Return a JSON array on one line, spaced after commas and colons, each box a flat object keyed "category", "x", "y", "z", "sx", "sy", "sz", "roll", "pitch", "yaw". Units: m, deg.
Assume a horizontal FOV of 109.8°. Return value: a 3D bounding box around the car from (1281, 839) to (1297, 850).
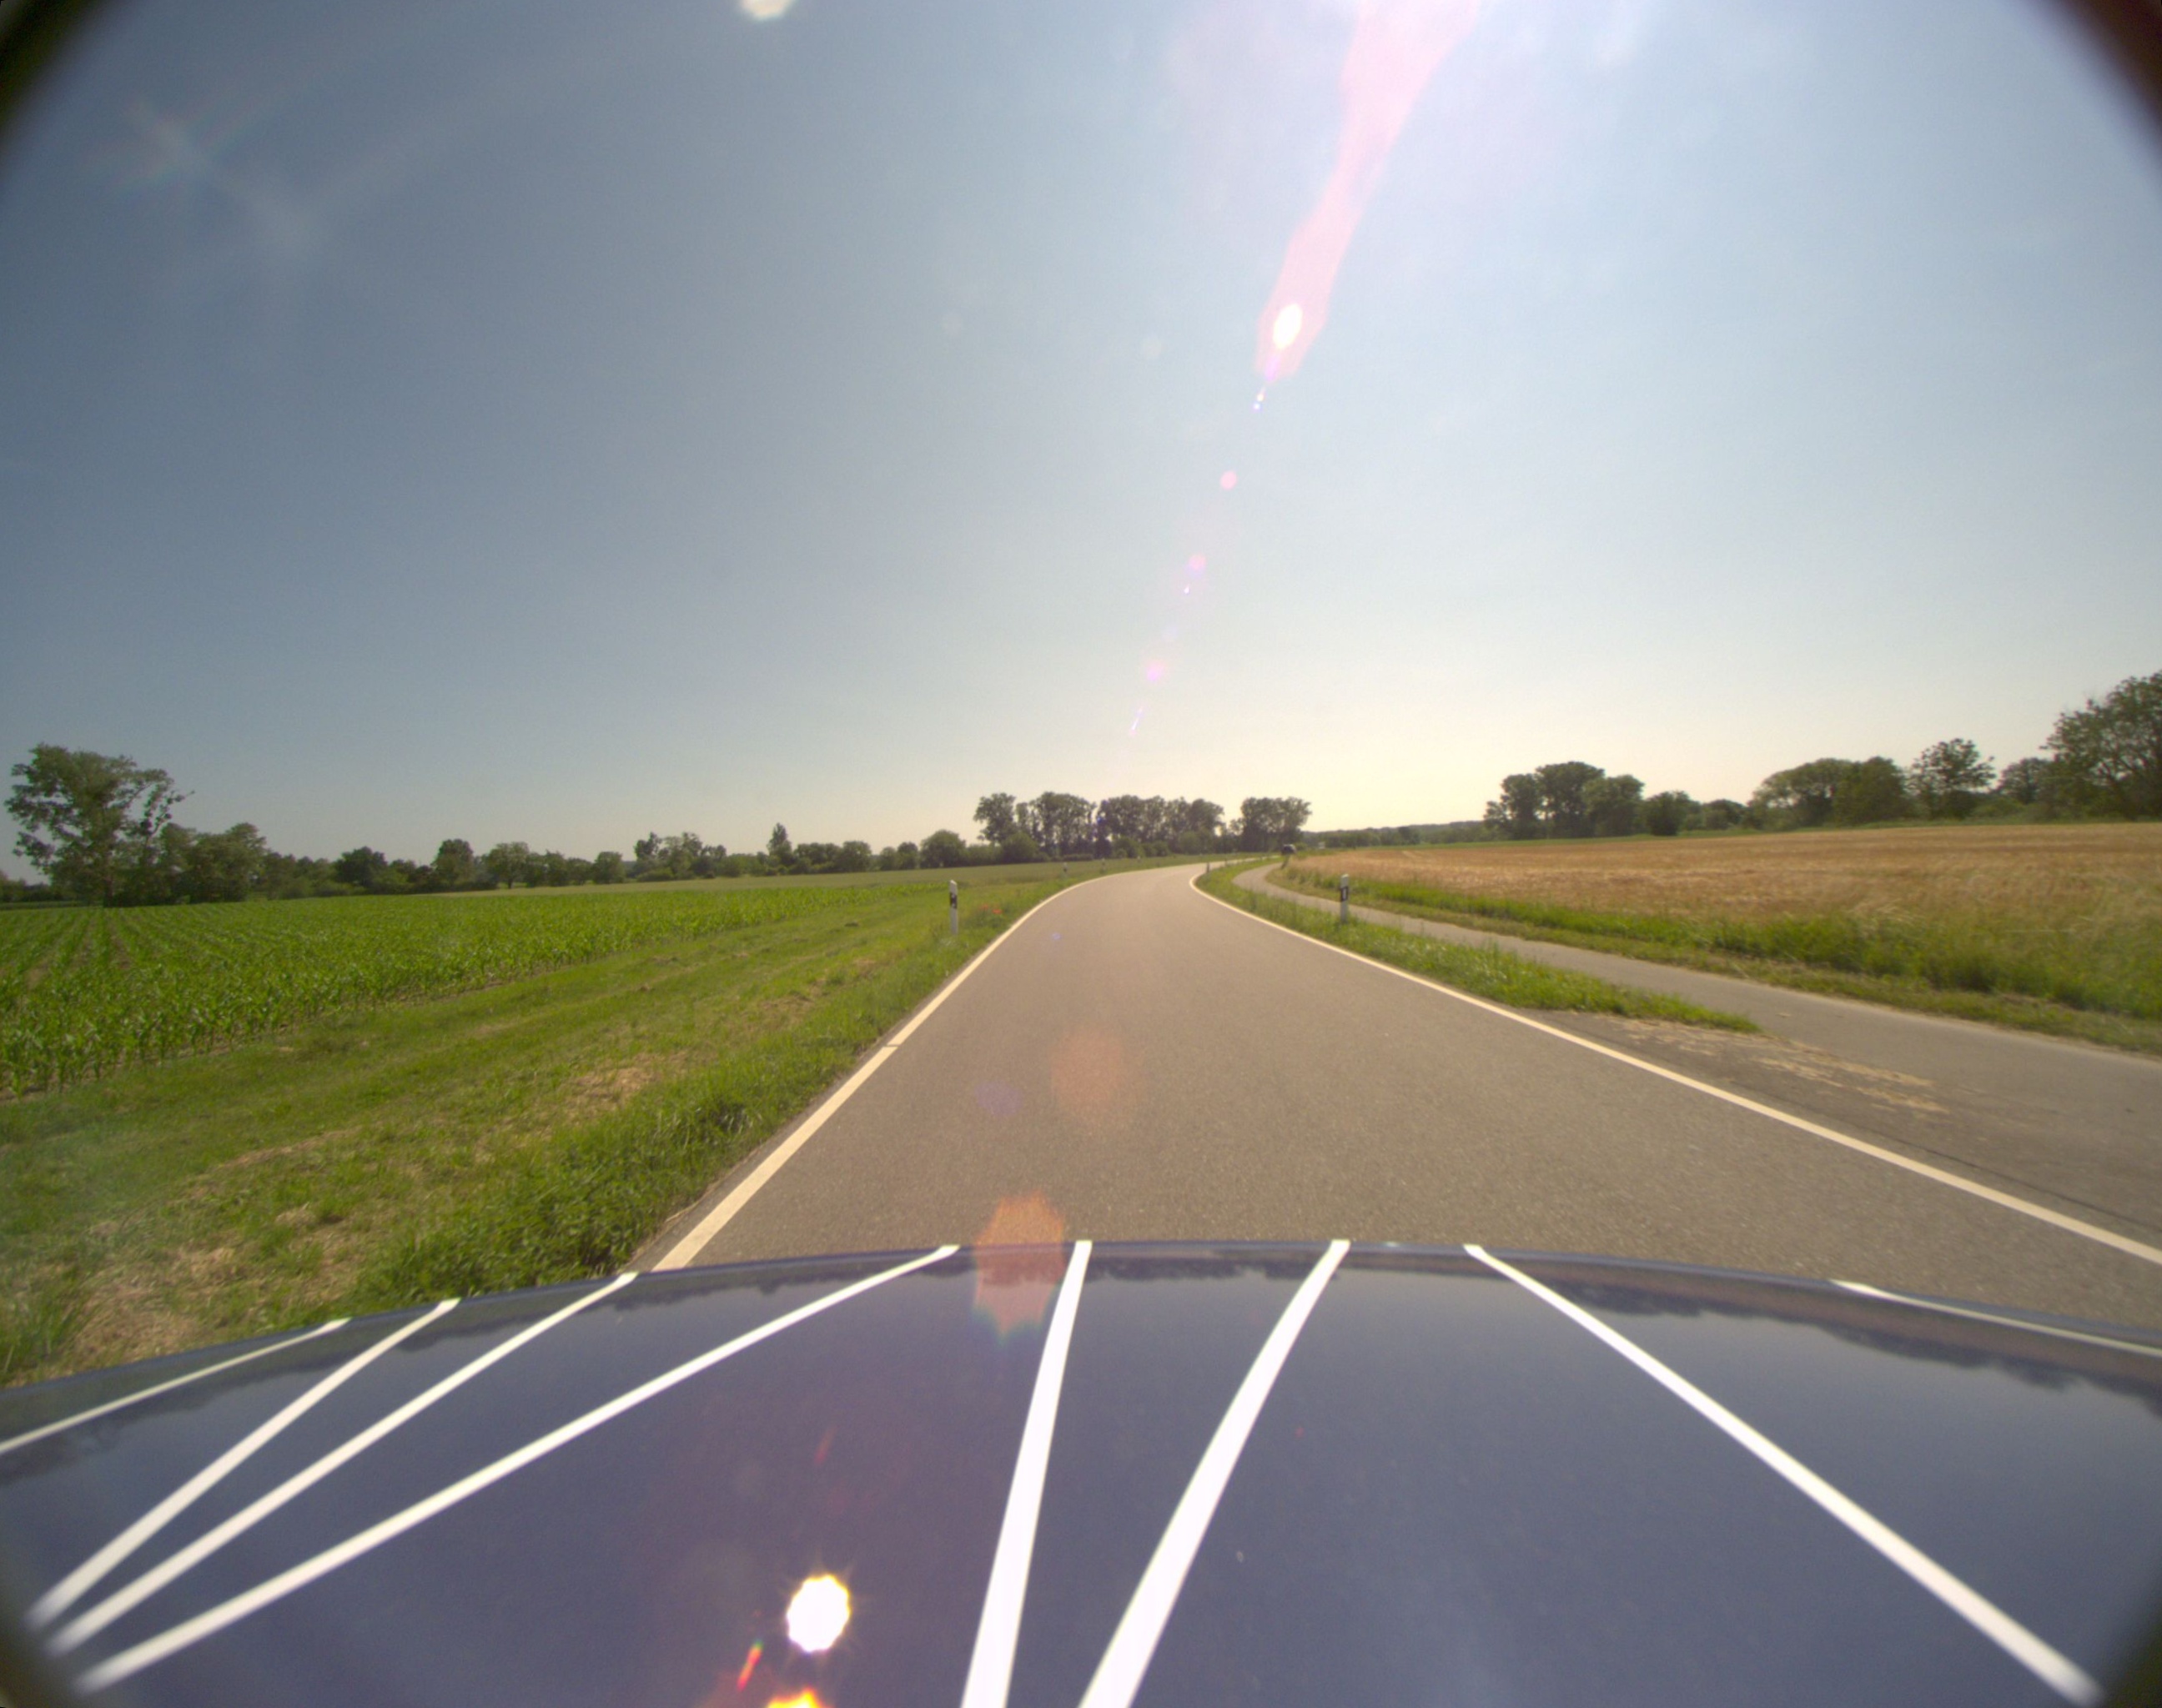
[{"category": "car", "x": 32.382, "y": -1.500, "z": 118.363, "sx": 1.888, "sy": 1.705, "sz": 4.020, "roll": -1, "pitch": 0, "yaw": 22}]
